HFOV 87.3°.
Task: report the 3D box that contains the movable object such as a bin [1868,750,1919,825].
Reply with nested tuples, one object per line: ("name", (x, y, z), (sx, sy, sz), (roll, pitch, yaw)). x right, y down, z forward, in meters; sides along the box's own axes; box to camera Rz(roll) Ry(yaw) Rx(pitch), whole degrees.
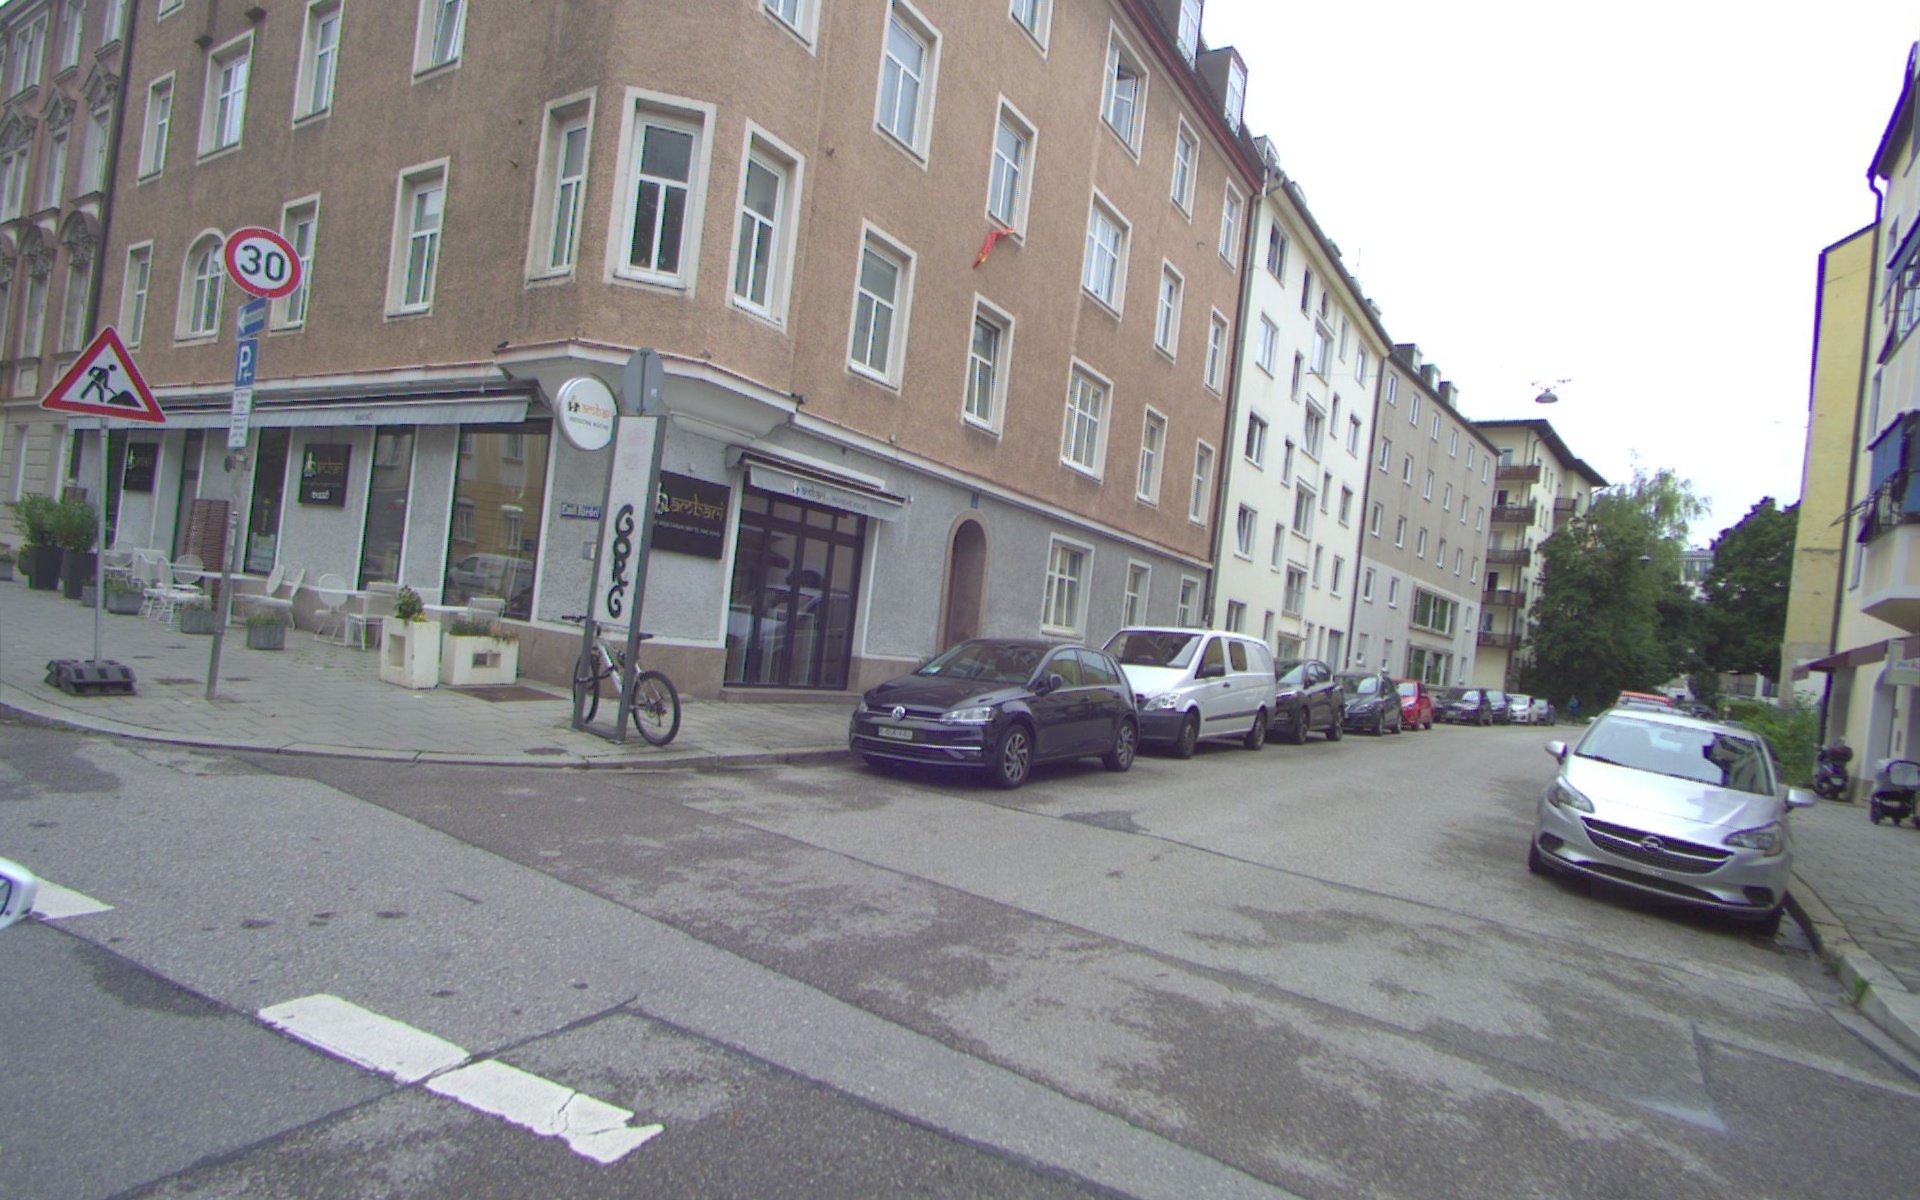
("movable object such as a bin", (14.909, 2.956, 15.844), (0.673, 1.026, 1.123), (6, -1, 34))

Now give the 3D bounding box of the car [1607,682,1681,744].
("car", (26.311, 4.328, 38.633), (2.034, 2.002, 4.418), (6, -2, 37))

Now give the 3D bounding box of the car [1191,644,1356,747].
("car", (6.422, 1.897, 20.337), (1.948, 1.664, 3.985), (6, -1, 35))

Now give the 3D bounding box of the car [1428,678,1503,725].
("car", (20.932, 4.158, 41.572), (1.948, 1.587, 4.655), (6, -1, 36))

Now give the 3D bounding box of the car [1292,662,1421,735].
("car", (10.523, 2.643, 26.510), (1.948, 1.520, 4.658), (6, -2, 36))

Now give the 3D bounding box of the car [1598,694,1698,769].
("car", (18.506, 3.502, 27.176), (1.947, 1.586, 4.422), (6, -2, 34))

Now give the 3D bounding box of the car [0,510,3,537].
("car", (-9.886, -0.275, 8.250), (4.711, 1.421, 1.849), (6, -2, 33))

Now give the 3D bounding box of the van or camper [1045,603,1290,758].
("van or camper", (3.448, 1.281, 15.863), (1.931, 1.941, 4.904), (4, -3, 34))

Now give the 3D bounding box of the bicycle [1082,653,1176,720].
("bicycle", (3.485, 1.775, 20.770), (1.766, 1.157, 0.418), (6, 0, 17))

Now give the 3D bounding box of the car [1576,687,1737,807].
("car", (12.097, 2.470, 17.522), (1.954, 1.603, 4.018), (6, -2, 36))

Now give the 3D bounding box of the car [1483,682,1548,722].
("car", (27.398, 5.040, 49.527), (1.950, 1.586, 4.415), (6, -2, 39))

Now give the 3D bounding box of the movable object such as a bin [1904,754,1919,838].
("movable object such as a bin", (13.405, 2.702, 13.542), (0.755, 1.094, 1.123), (6, -1, 34))

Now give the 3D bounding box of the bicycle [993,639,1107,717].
("bicycle", (1.637, 1.402, 18.270), (1.893, 1.157, 0.475), (6, 0, 17))

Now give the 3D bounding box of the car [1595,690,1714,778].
("car", (15.979, 3.038, 23.271), (1.947, 1.586, 4.422), (6, -2, 34))

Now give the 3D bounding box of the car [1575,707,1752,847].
("car", (9.336, 2.224, 13.346), (1.614, 1.353, 3.444), (6, -1, 37))

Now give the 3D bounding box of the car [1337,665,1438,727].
("car", (13.401, 2.970, 31.368), (1.947, 1.587, 4.657), (6, -1, 34))

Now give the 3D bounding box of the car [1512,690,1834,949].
("car", (6.211, 1.692, 8.813), (1.724, 1.458, 3.734), (10, 1, 37))

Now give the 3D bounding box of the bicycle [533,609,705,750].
("bicycle", (-3.198, 0.700, 9.348), (1.774, 1.018, 0.495), (8, 2, 36))

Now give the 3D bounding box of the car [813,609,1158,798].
("car", (0.462, 1.081, 10.944), (1.862, 1.505, 3.876), (6, -2, 34))

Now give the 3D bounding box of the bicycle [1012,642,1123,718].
("bicycle", (1.996, 1.471, 18.695), (1.893, 1.157, 0.475), (6, 0, 17))

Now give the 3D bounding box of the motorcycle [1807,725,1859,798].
("motorcycle", (18.304, 3.358, 21.130), (0.548, 1.356, 1.880), (6, -1, 36))

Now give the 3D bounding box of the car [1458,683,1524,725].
("car", (24.119, 4.695, 45.618), (1.948, 1.587, 4.417), (6, -1, 36))
